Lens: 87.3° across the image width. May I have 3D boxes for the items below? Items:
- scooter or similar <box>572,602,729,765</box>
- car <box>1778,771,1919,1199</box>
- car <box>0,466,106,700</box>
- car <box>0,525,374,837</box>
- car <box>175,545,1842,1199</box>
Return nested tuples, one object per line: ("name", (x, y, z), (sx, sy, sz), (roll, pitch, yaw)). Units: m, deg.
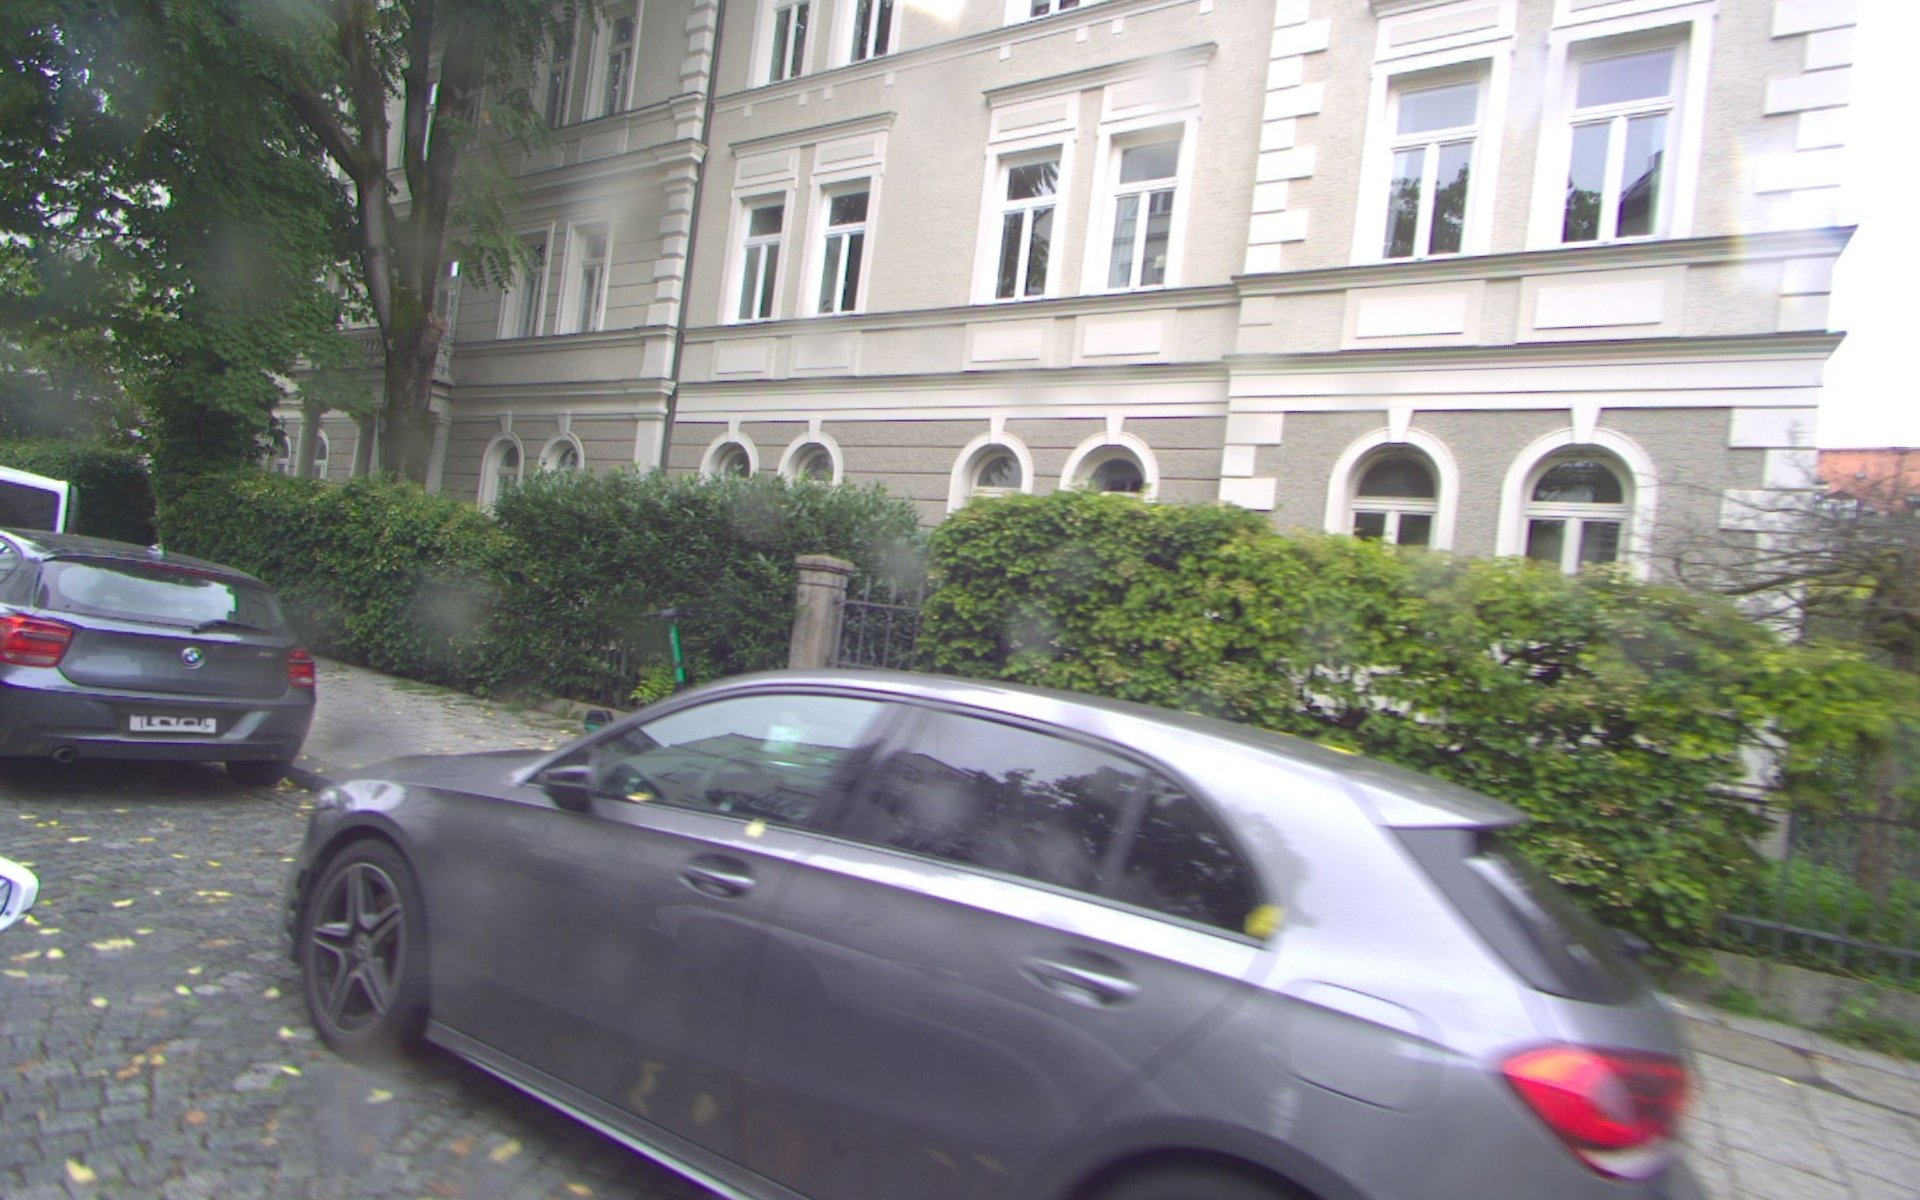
("scooter or similar", (-2.743, 0.715, 8.913), (1.223, 1.251, 0.415), (7, 2, 20))
("car", (3.578, 1.258, 0.970), (3.990, 1.455, 1.701), (7, -4, 28))
("car", (-10.548, -0.441, 9.552), (5.076, 1.948, 1.880), (6, -4, 30))
("car", (-6.079, 0.322, 6.679), (4.349, 1.505, 1.842), (6, -5, 33))
("car", (-0.328, 0.865, 3.093), (4.197, 1.487, 1.719), (6, -5, 31))
